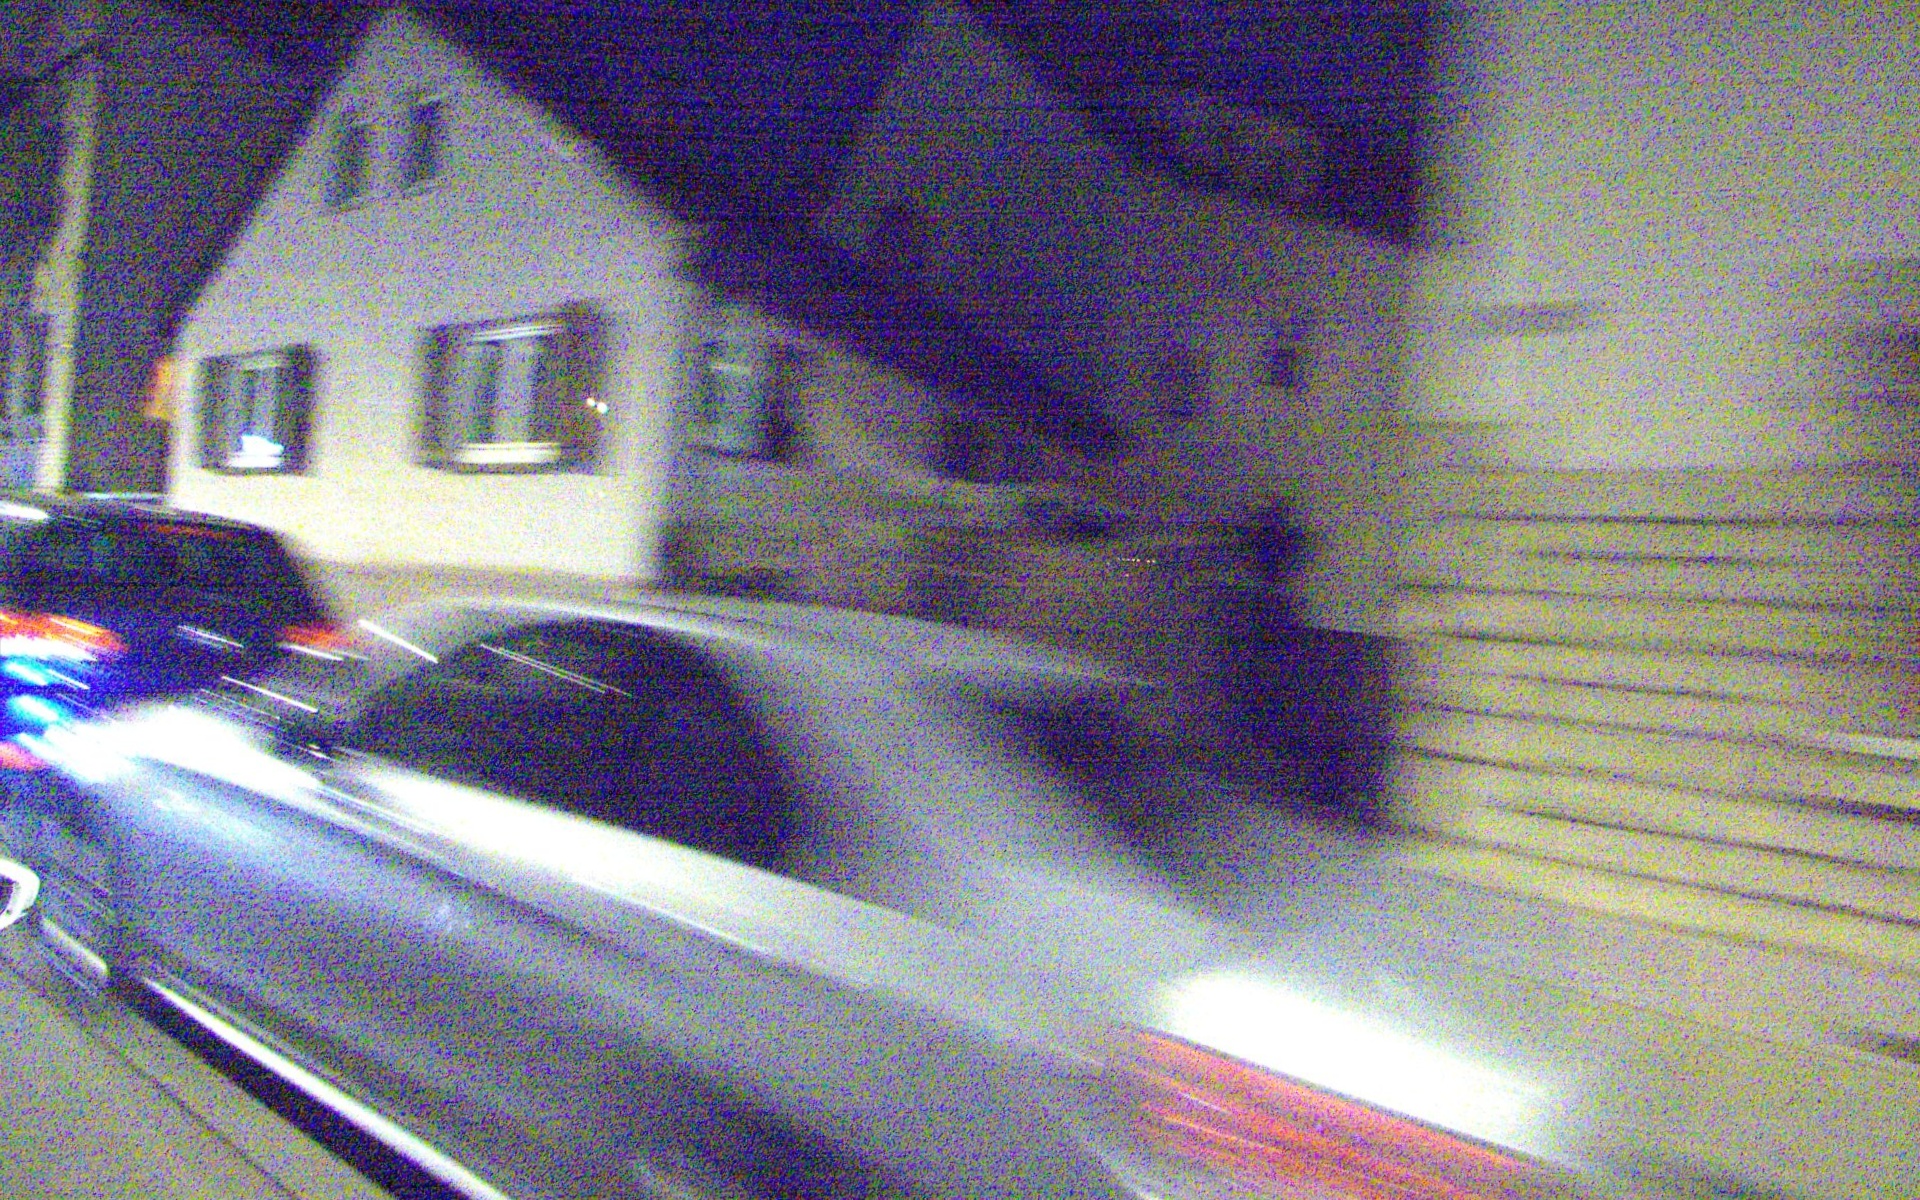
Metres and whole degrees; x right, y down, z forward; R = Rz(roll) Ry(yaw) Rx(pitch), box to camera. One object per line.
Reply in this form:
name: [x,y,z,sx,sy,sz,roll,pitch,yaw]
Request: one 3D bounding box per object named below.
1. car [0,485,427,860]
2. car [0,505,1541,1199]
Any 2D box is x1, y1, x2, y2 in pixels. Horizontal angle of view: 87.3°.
car: [-5.043,0.136,5.647,3.952,1.467,1.772,7,2,31]
car: [-0.970,0.604,3.021,4.567,1.437,1.844,6,4,31]
